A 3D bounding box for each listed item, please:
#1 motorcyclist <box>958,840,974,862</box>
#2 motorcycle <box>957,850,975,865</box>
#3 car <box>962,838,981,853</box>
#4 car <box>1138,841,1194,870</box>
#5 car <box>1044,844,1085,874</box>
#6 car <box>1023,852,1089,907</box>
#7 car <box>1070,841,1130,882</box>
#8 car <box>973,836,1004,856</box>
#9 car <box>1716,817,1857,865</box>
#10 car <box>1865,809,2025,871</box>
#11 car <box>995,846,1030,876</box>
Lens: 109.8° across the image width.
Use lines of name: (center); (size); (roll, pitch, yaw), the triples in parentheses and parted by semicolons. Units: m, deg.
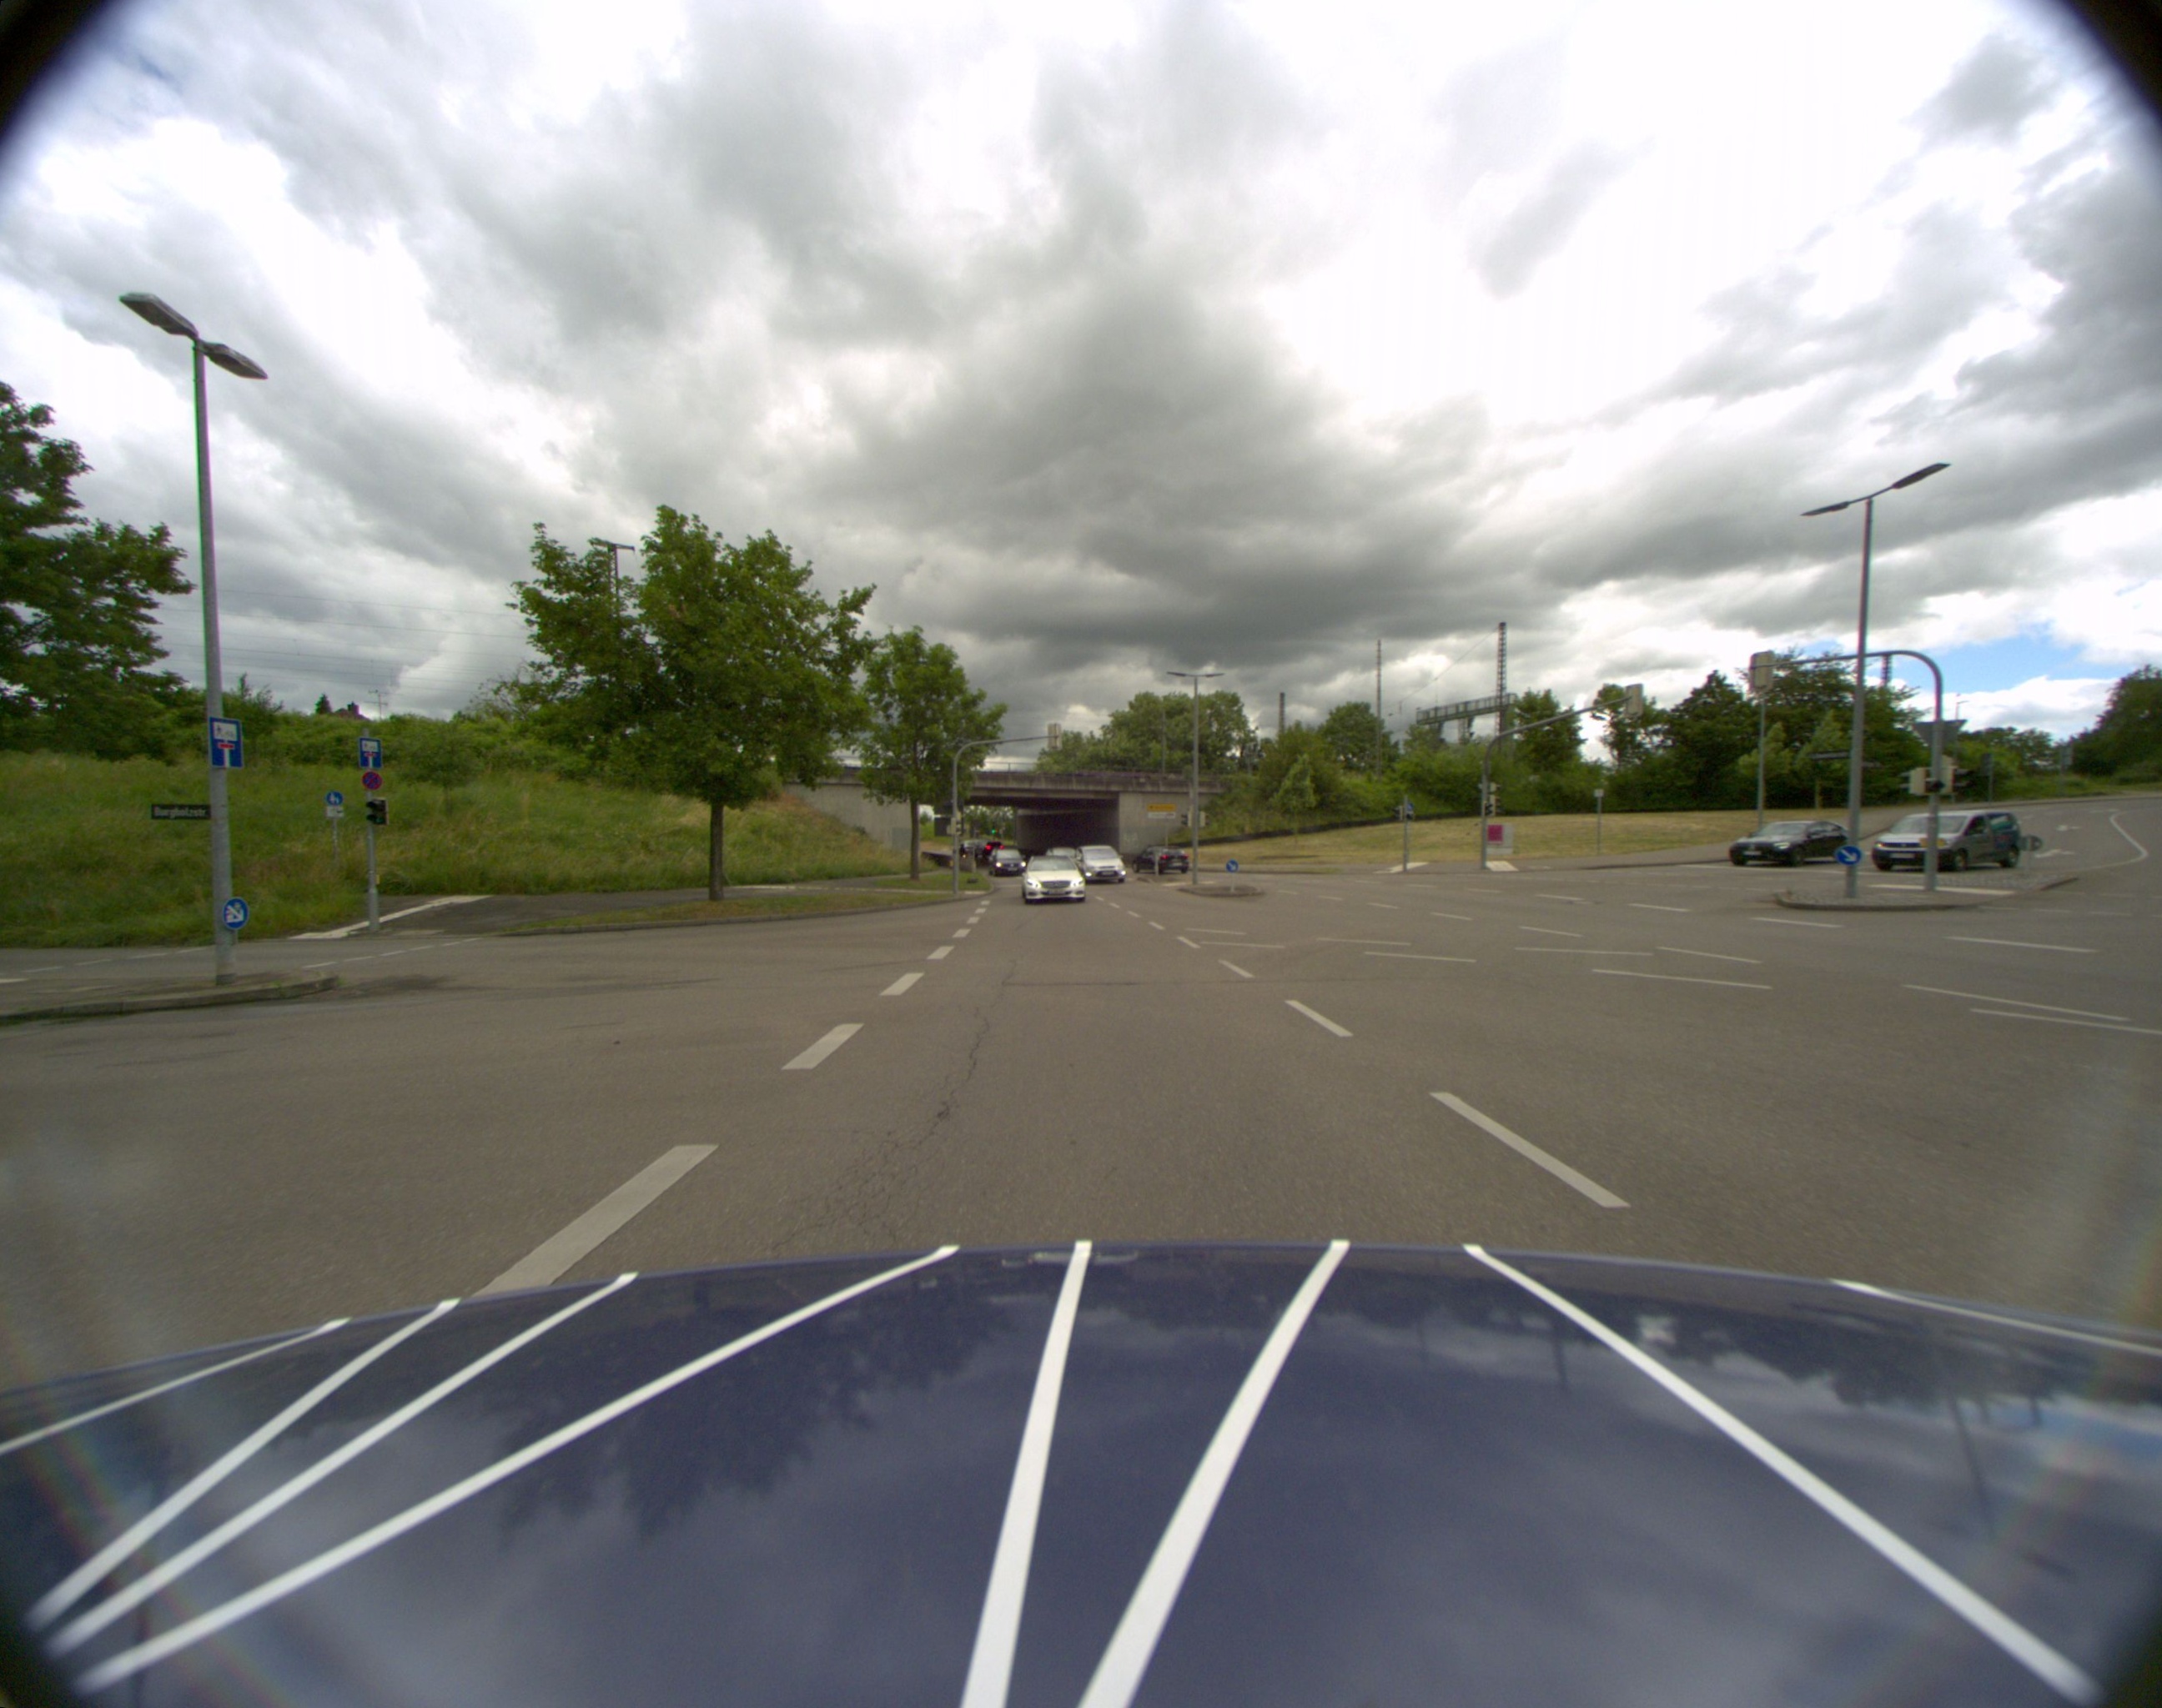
motorcyclist: (-8.662, -0.235, 57.401); (0.884, 1.596, 1.241); (-2, 2, -21)
motorcycle: (-8.726, 0.266, 57.591); (0.884, 1.098, 2.356); (-2, 2, -21)
car: (-11.515, -0.947, 79.718); (1.760, 1.505, 3.883); (-2, 2, -10)
car: (4.466, 0.065, 40.434); (1.760, 1.446, 4.063); (-2, 1, -11)
car: (-0.992, 0.226, 43.168); (1.760, 1.525, 4.249); (-2, 2, -9)
car: (-0.893, 0.749, 24.699); (1.906, 1.471, 4.091); (-2, 2, -5)
car: (0.789, 0.290, 34.374); (1.831, 1.629, 4.507); (-2, 2, -10)
car: (-8.670, -0.770, 71.103); (1.968, 1.781, 3.992); (-3, 2, -20)
car: (25.752, -0.496, 27.761); (4.266, 1.542, 2.106); (-3, 2, -21)
car: (26.781, -0.460, 23.577); (4.266, 1.719, 1.757); (-3, 2, -18)
car: (-3.943, 0.347, 43.091); (1.760, 1.532, 3.996); (-2, 2, -7)
